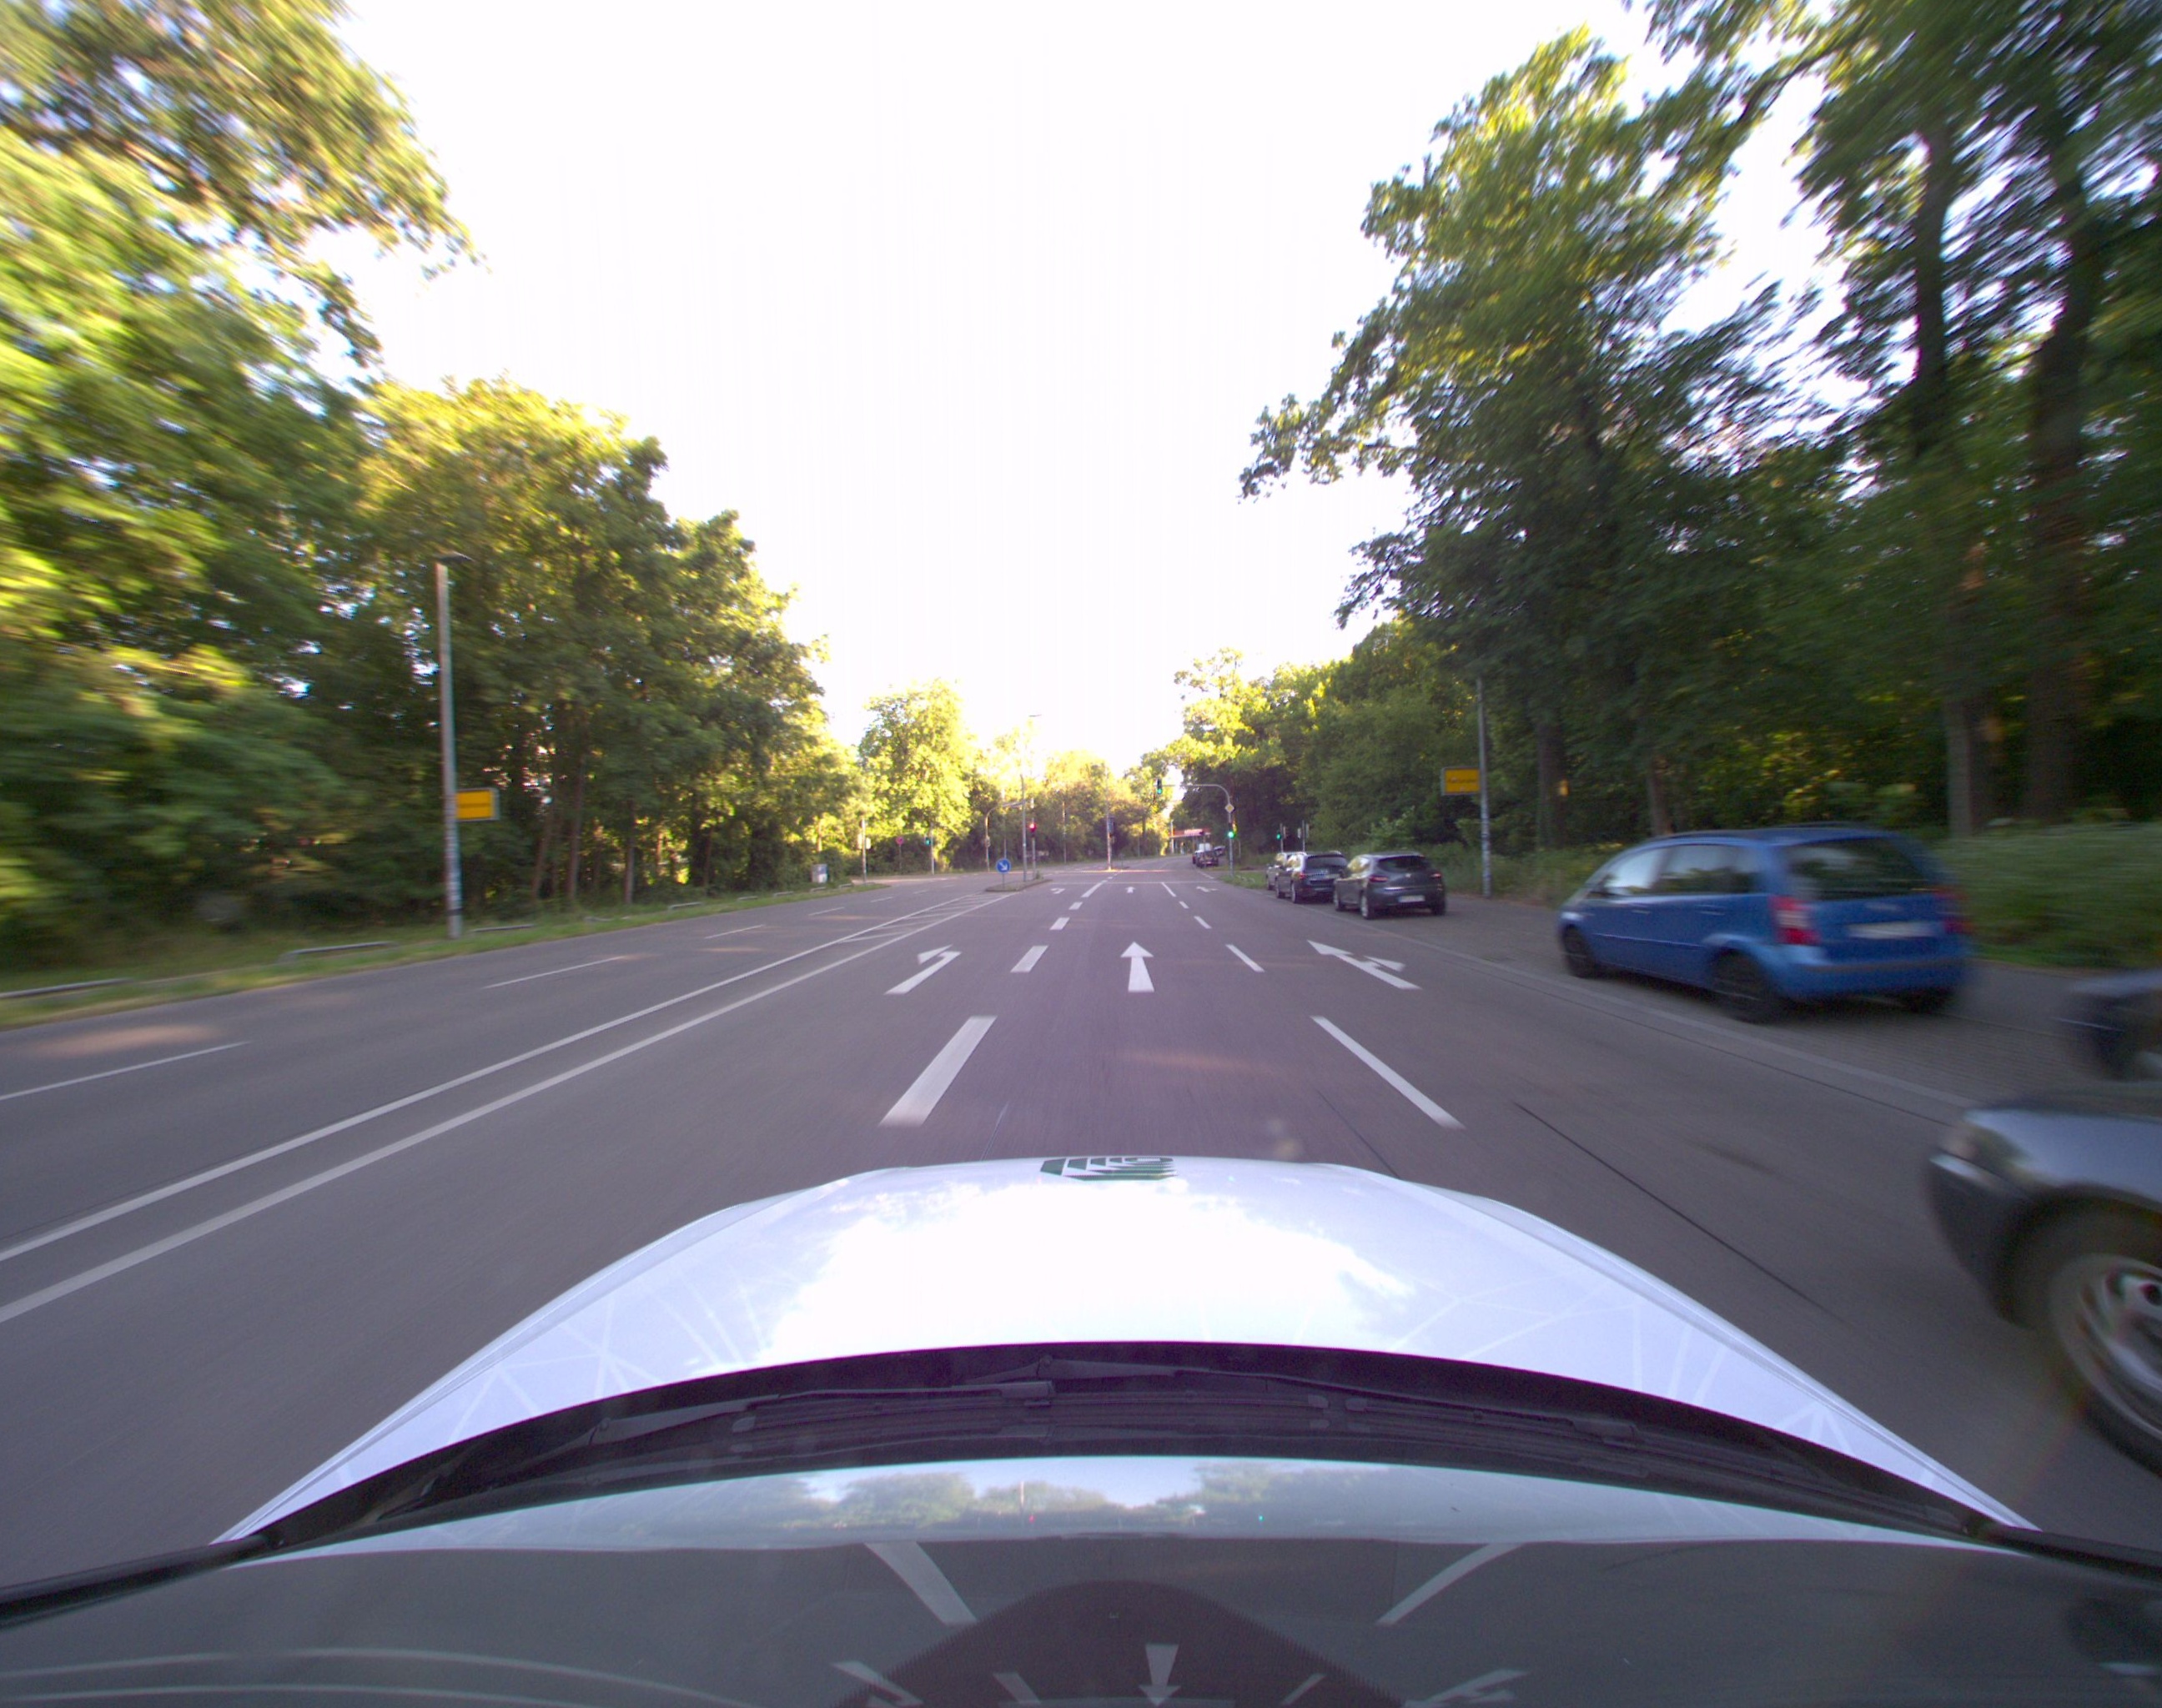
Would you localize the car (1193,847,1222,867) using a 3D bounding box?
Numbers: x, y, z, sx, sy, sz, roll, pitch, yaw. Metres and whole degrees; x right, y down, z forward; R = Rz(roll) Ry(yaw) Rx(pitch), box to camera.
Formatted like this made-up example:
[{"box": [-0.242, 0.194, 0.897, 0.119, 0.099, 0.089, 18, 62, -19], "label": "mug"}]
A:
[{"box": [11.119, 0.271, 71.662, 1.986, 1.618, 4.002, -1, 0, 2], "label": "car"}]

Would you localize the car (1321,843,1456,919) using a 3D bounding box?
[{"box": [7.050, 0.560, 19.124, 1.721, 1.490, 4.093, -3, 0, 3], "label": "car"}]

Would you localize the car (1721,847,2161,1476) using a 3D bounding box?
[{"box": [3.375, 0.724, 1.174, 1.722, 1.441, 4.090, -1, 0, 1], "label": "car"}]

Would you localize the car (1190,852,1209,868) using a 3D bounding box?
[{"box": [13.503, 0.626, 93.126, 1.983, 1.618, 4.008, -5, 0, 7], "label": "car"}]

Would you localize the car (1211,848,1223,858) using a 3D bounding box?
[{"box": [26.761, -0.237, 160.151, 1.985, 1.904, 4.004, -1, 0, 4], "label": "car"}]

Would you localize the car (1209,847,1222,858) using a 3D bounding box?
[{"box": [25.259, -0.330, 152.486, 1.985, 1.904, 4.004, -1, 0, 4], "label": "car"}]

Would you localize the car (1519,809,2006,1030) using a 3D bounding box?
[{"box": [6.492, 0.521, 8.493, 1.721, 1.704, 4.091, -2, 0, 2], "label": "car"}]

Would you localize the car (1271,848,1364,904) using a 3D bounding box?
[{"box": [7.025, 0.601, 24.635, 1.721, 1.461, 4.170, -3, 0, 3], "label": "car"}]

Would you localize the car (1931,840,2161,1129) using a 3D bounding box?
[{"box": [6.232, 0.649, 3.159, 1.644, 1.441, 4.115, -1, 0, 2], "label": "car"}]

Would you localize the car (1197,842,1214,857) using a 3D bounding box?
[{"box": [19.351, -0.688, 126.723, 2.296, 2.335, 4.568, -1, 0, 7], "label": "car"}]
